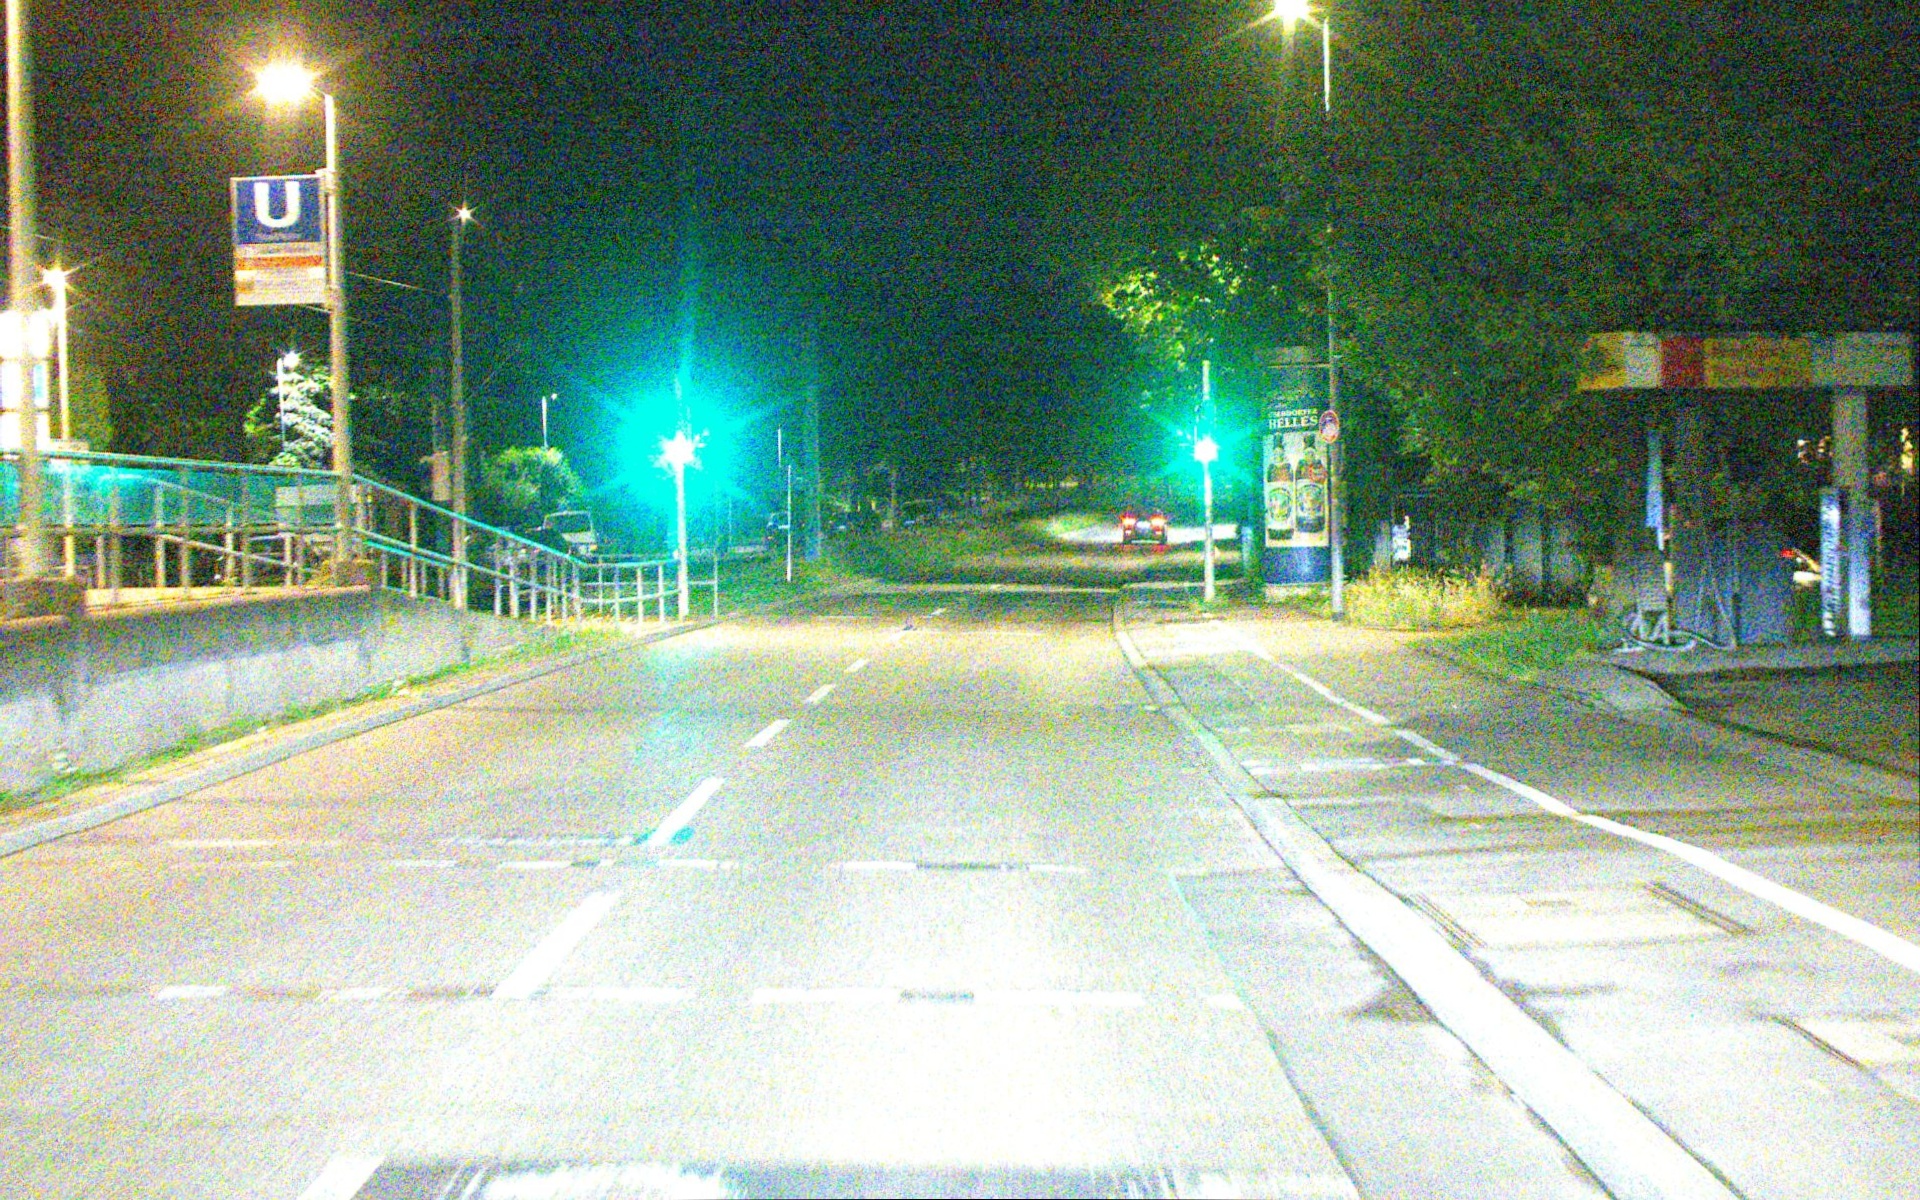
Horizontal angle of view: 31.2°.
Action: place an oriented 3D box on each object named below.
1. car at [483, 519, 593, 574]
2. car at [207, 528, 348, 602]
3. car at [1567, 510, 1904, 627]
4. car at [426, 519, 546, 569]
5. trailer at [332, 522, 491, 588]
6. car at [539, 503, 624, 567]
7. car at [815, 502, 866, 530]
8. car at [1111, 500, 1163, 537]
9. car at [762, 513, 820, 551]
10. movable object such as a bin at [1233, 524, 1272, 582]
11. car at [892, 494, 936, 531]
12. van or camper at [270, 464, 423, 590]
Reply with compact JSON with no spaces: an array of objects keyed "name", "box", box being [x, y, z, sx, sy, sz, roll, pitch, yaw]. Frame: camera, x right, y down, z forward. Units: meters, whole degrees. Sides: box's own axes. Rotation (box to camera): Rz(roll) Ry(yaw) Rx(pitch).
[{"name":"car","box":[-12.078,-1.561,98.705,1.902,1.517,5.170,0,1,7]},{"name":"car","box":[-14.130,-0.751,71.378,1.646,1.335,4.543,-5,1,4]},{"name":"car","box":[9.488,-0.396,42.288,3.764,1.349,1.859,-1,2,2]},{"name":"car","box":[-12.839,-1.527,93.243,3.028,1.321,1.534,0,1,0]},{"name":"trailer","box":[-13.463,-1.123,84.654,2.420,1.370,4.653,-4,1,9]},{"name":"car","box":[-11.497,-2.001,104.749,1.857,1.897,4.880,0,1,2]},{"name":"car","box":[-5.978,-4.211,172.382,1.994,1.333,5.432,-1,2,4]},{"name":"car","box":[7.673,-3.524,149.021,2.161,1.577,4.013,0,1,2]},{"name":"car","box":[-7.462,-3.014,152.563,1.994,1.622,4.677,-1,2,4]},{"name":"movable object such as a bin","box":[6.100,-0.985,71.623,0.724,1.196,0.719,0,2,12]},{"name":"car","box":[-2.694,-5.180,202.861,2.092,2.006,4.000,-5,2,4]},{"name":"van or camper","box":[-13.808,-1.682,77.780,2.272,2.638,5.664,-3,2,1]}]
